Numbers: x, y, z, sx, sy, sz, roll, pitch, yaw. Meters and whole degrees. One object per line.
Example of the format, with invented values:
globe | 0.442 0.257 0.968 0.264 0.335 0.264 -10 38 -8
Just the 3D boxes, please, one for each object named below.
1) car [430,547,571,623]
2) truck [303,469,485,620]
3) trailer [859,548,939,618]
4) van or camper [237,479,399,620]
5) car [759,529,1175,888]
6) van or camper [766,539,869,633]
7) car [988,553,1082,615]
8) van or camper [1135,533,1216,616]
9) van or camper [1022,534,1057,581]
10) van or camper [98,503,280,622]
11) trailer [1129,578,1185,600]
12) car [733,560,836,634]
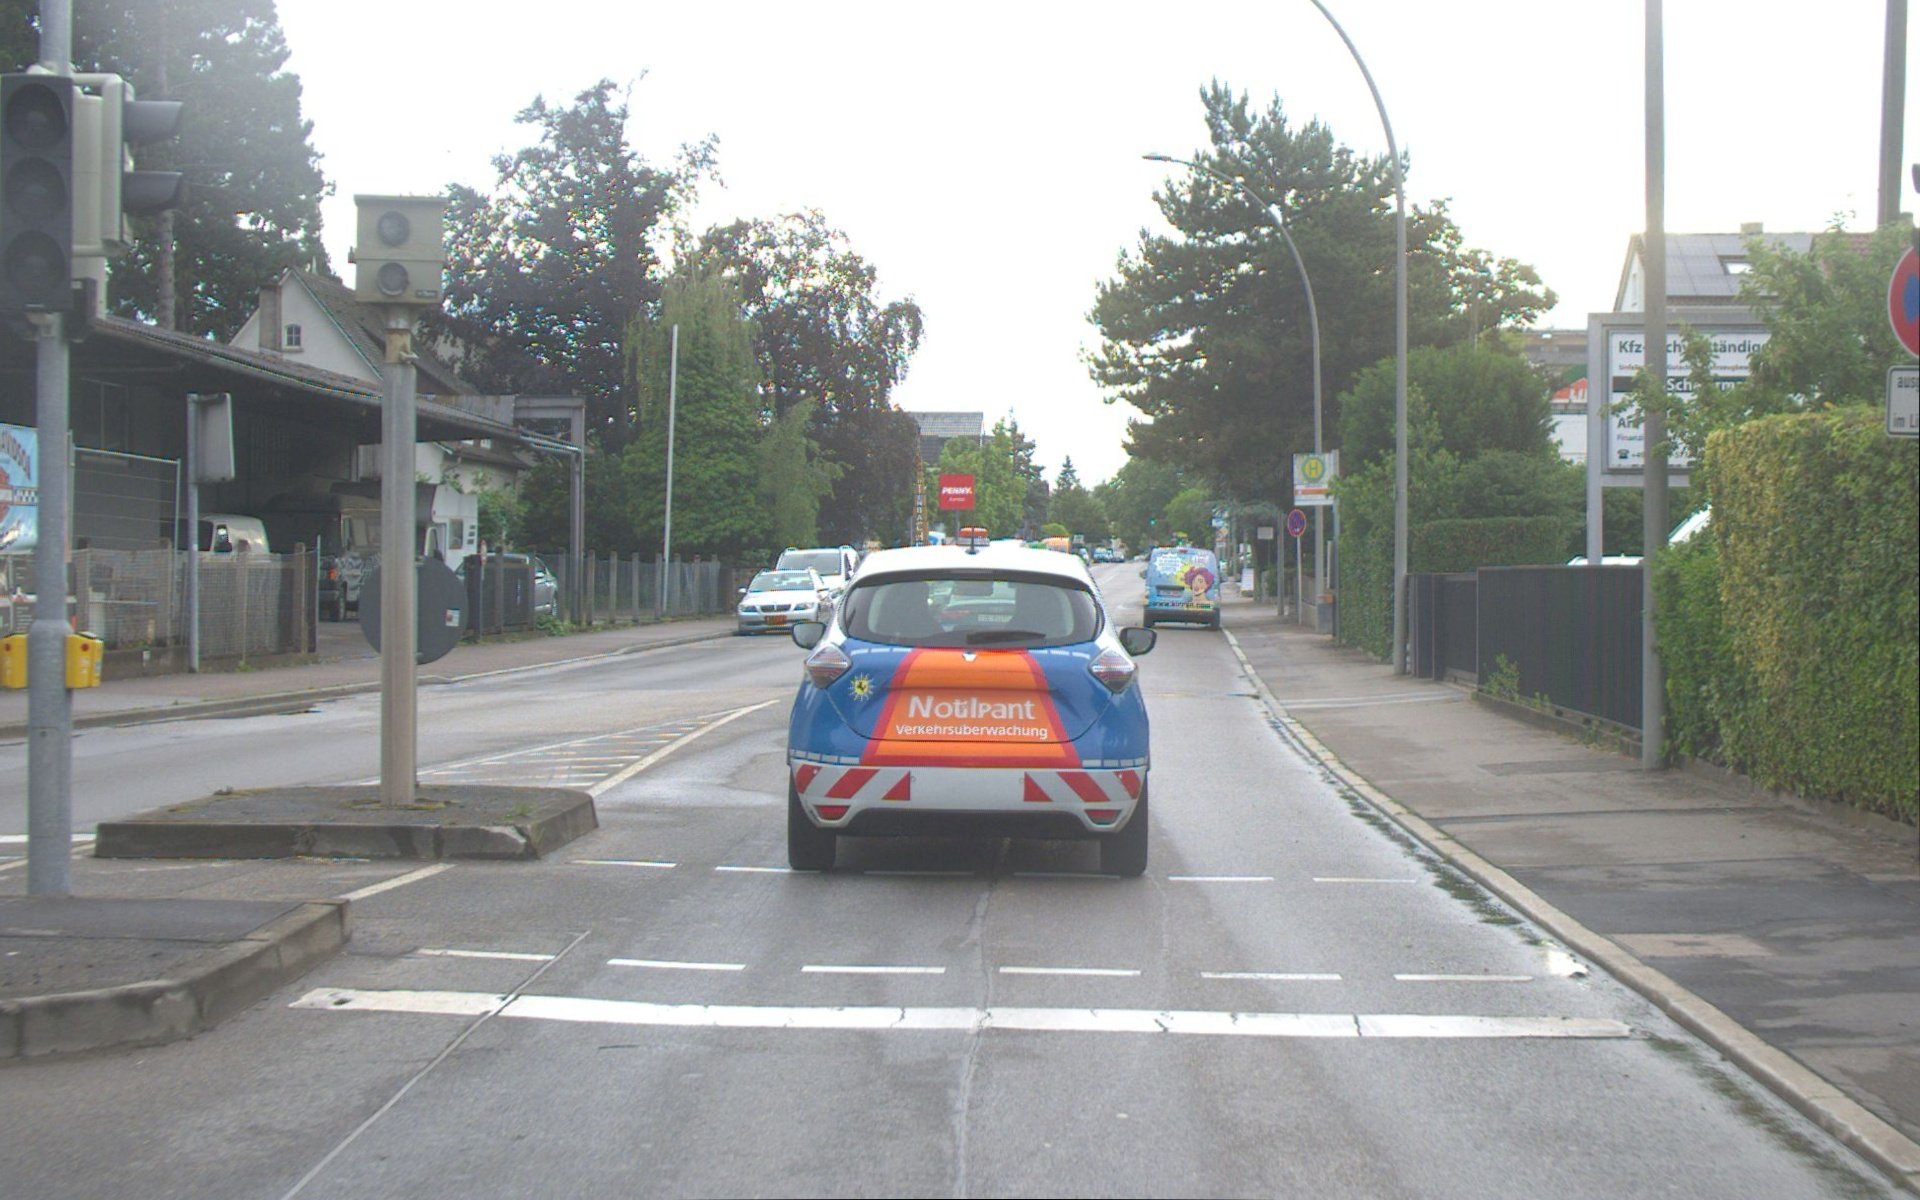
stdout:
car | -9.350 -0.282 70.250 1.936 1.439 4.781 2 0 4
truck | -11.812 -1.106 72.239 2.395 2.917 5.956 3 0 3
trailer | -1.911 -0.518 108.669 2.220 2.007 4.436 3 -1 2
van or camper | -12.368 -0.932 66.540 1.859 2.429 5.233 3 -1 2
car | 0.042 0.465 17.602 1.888 1.626 4.000 0 1 0
van or camper | -3.340 -0.305 81.751 1.890 2.007 5.096 3 -1 3
car | 1.785 -0.400 80.962 1.994 1.415 4.000 0 1 4
van or camper | 4.972 -0.596 79.696 1.754 1.876 4.000 0 1 2
van or camper | 4.728 -2.514 203.453 1.993 2.765 5.440 0 1 2
van or camper | -13.332 -0.637 59.698 1.993 1.902 4.472 3 0 1
trailer | 6.959 -0.391 121.680 1.938 0.751 2.859 0 1 2
car | -3.799 -0.035 75.065 1.742 1.475 4.183 -1 -2 4
